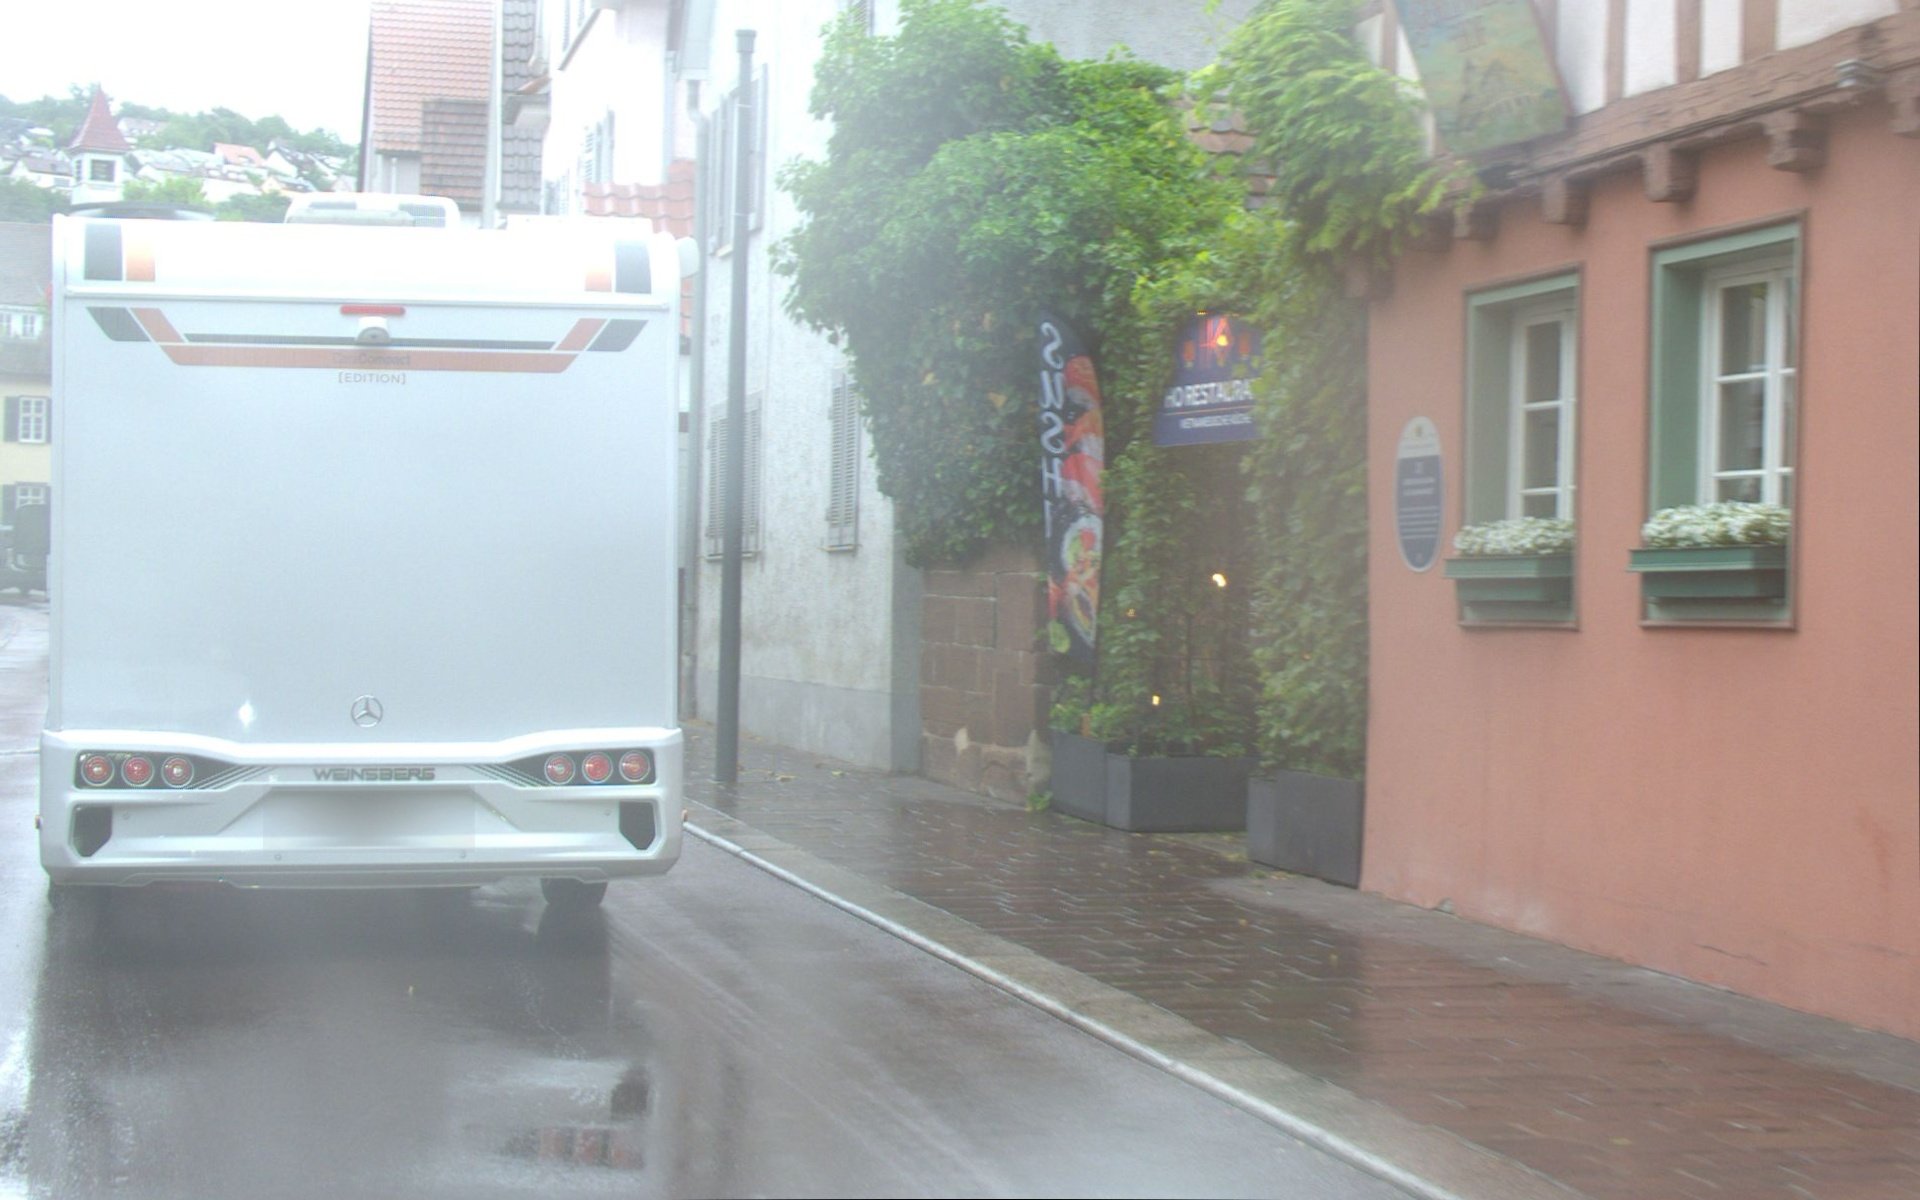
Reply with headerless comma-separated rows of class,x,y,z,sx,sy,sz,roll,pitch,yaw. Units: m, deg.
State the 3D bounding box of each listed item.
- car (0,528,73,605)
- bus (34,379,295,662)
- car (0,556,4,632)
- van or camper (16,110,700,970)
car,-25.573,-0.870,92.854,1.993,2.007,4.000,1,-1,-32
bus,-9.980,-0.876,42.699,2.640,3.216,6.604,0,-1,-17
car,-20.237,-0.163,68.507,1.993,1.467,4.001,1,0,-19
van or camper,-2.857,-0.176,15.009,2.325,2.909,6.395,0,-1,-15
